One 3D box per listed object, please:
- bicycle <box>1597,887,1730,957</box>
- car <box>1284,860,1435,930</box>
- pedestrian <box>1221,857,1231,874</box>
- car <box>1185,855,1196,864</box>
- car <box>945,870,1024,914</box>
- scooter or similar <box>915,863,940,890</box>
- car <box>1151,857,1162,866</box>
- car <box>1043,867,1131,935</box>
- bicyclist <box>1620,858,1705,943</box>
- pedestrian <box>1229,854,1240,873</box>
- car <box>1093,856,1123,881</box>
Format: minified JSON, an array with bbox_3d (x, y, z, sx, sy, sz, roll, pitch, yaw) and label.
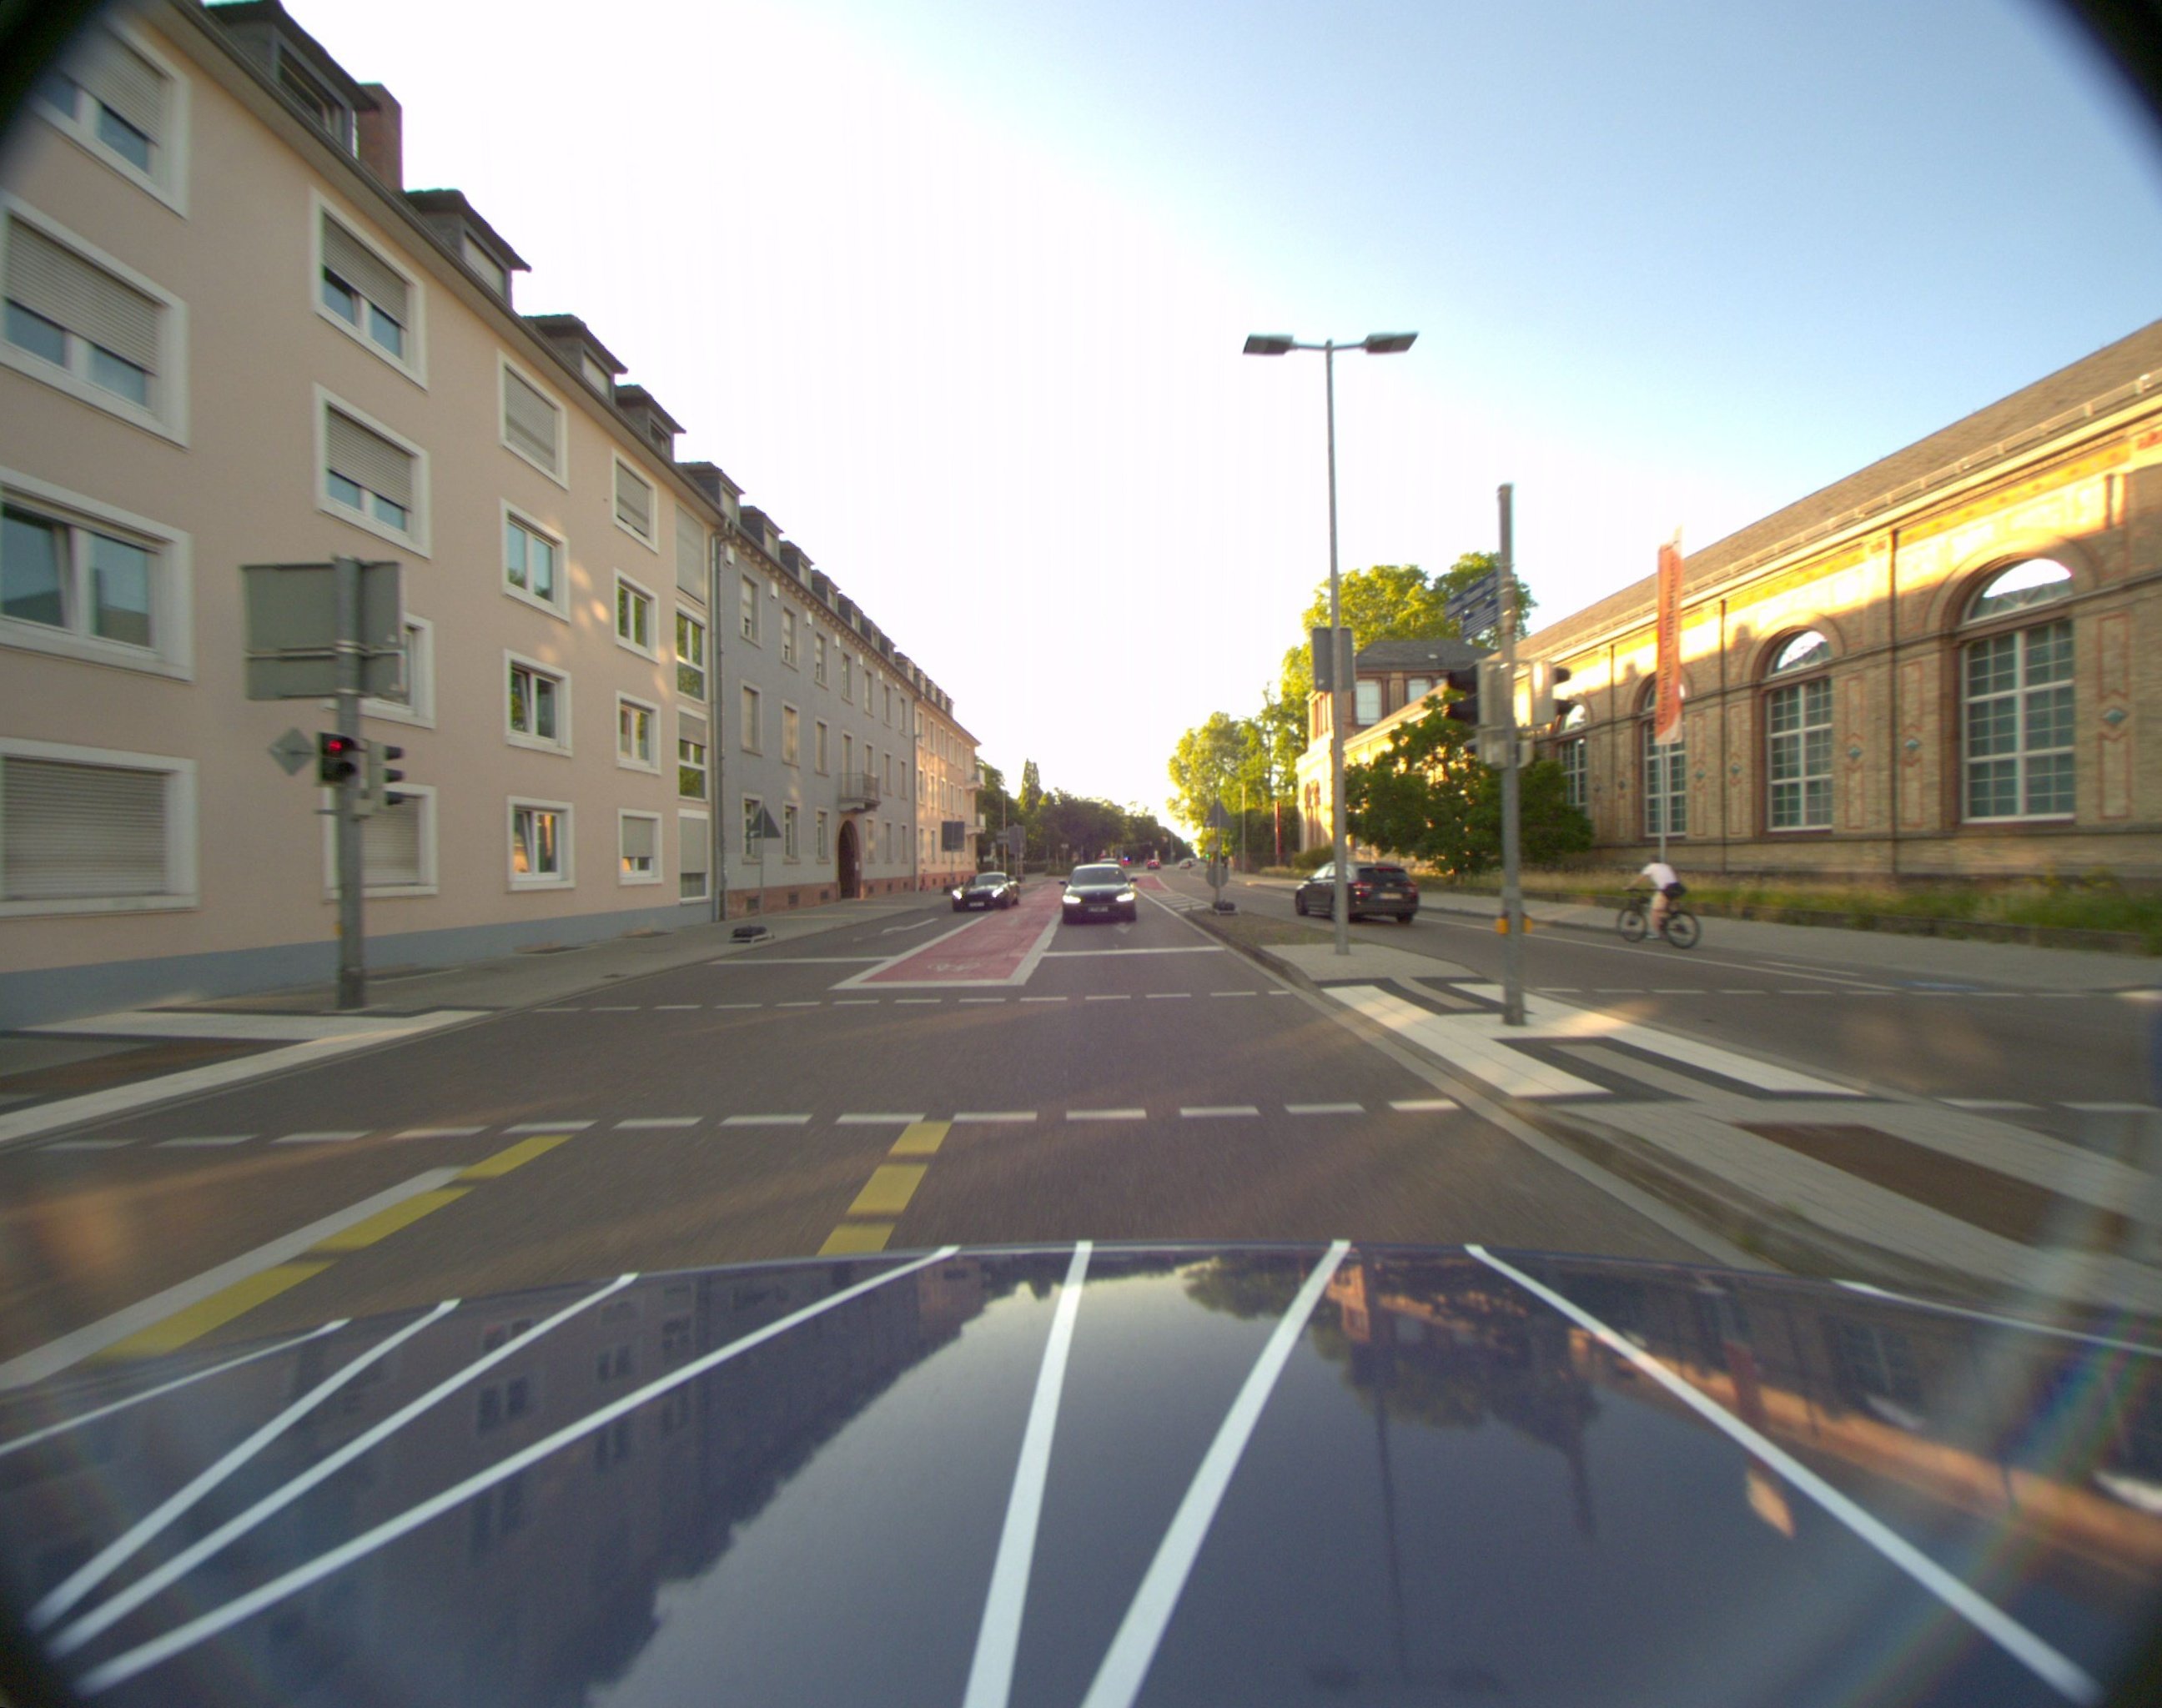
[{"bbox_3d":[10.317,1.176,13.572,0.755,1.084,1.931,1,0,-5],"label":"bicycle"},{"bbox_3d":[6.719,0.919,18.919,1.828,1.499,4.425,1,0,-5],"label":"car"},{"bbox_3d":[13.094,1.037,68.599,0.675,1.504,0.836,-3,-1,3],"label":"pedestrian"},{"bbox_3d":[20.311,1.028,141.179,1.919,1.674,4.003,-1,0,8],"label":"car"},{"bbox_3d":[-3.385,1.328,27.653,2.183,1.293,4.358,-3,0,1],"label":"car"},{"bbox_3d":[-8.571,1.262,42.487,0.726,1.450,1.673,2,0,11],"label":"scooter or similar"},{"bbox_3d":[12.636,1.194,126.541,1.775,1.455,4.002,1,0,6],"label":"car"},{"bbox_3d":[0.283,1.115,19.559,1.963,1.378,4.782,-1,0,4],"label":"car"},{"bbox_3d":[10.326,0.798,13.534,0.749,1.452,0.937,1,0,-5],"label":"bicyclist"},{"bbox_3d":[13.799,0.873,68.345,0.807,1.728,0.851,-1,0,26],"label":"pedestrian"},{"bbox_3d":[1.980,1.040,56.825,1.839,1.674,4.222,-2,1,-3],"label":"car"}]
